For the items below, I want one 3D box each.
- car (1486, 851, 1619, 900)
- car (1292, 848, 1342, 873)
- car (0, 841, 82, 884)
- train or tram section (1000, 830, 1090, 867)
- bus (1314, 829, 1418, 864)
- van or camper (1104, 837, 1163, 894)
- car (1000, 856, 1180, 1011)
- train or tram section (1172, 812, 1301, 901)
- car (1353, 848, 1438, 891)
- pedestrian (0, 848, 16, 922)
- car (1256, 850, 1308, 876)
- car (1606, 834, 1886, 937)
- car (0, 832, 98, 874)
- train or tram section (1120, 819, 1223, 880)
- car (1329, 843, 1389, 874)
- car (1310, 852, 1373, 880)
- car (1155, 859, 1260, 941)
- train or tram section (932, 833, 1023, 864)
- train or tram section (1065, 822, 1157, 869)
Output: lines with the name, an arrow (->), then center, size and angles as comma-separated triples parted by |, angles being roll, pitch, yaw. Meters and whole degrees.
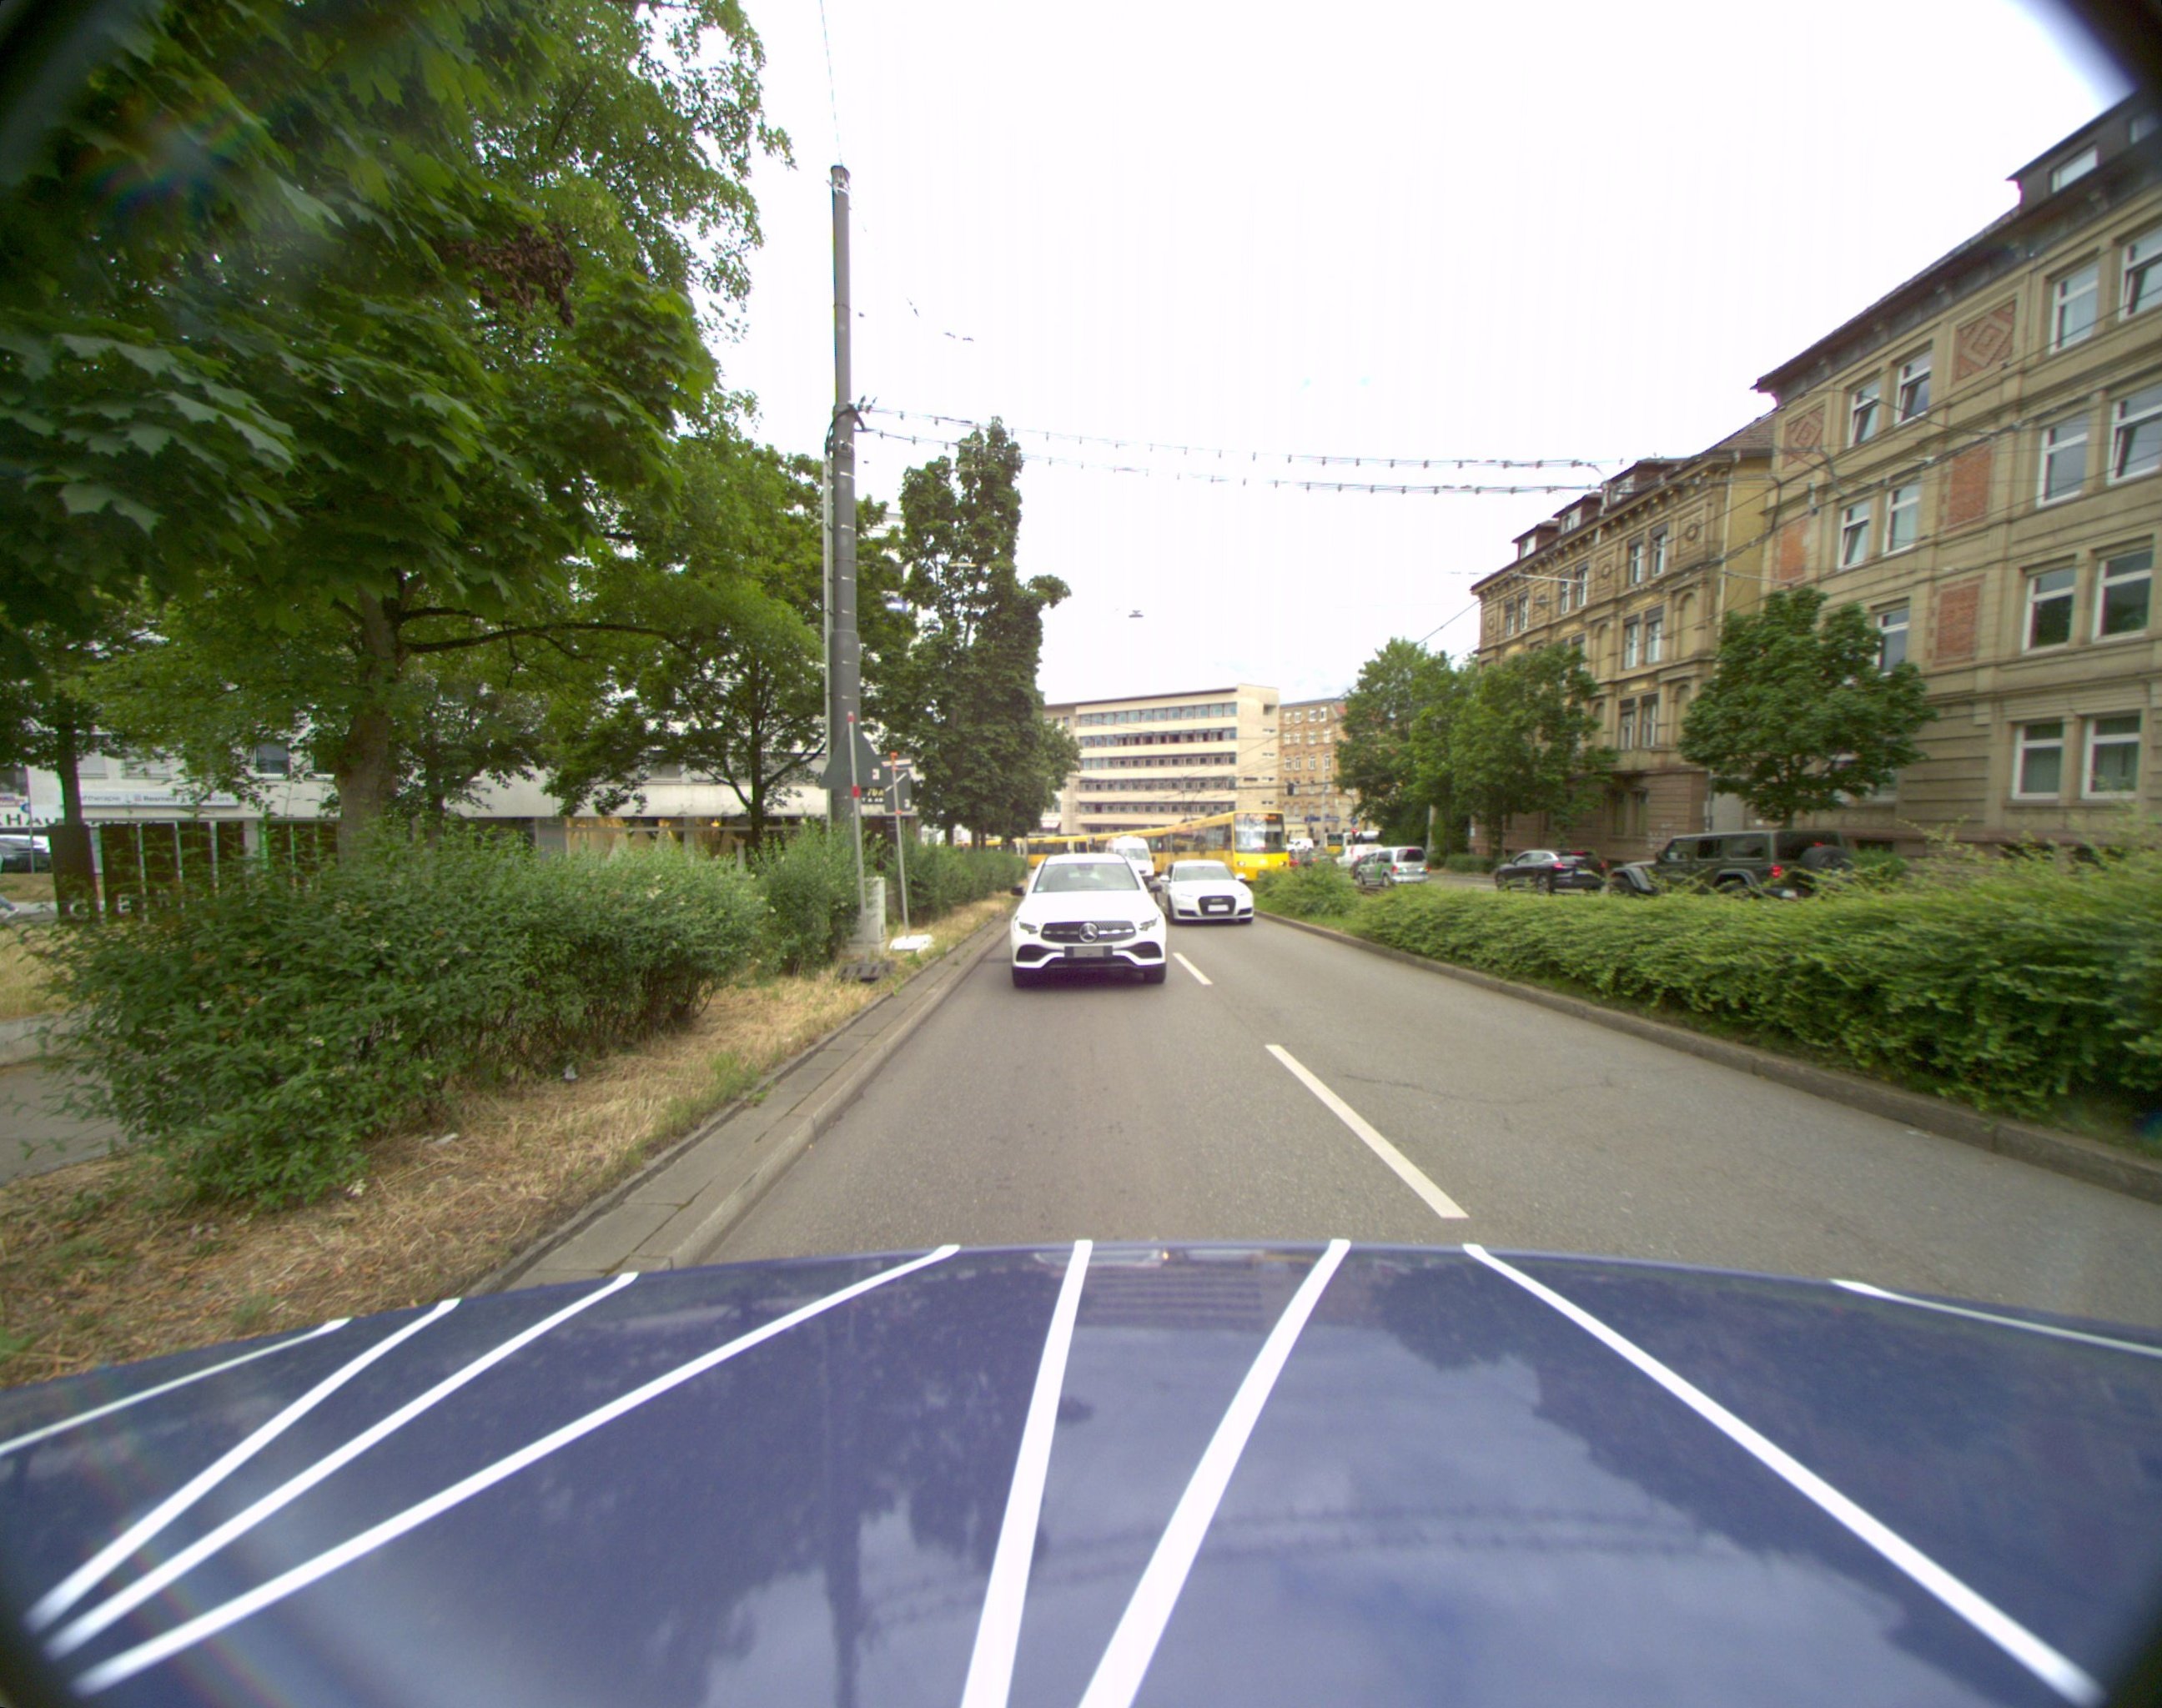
car -> 16.534, 0.699, 26.945 | 1.870, 1.545, 4.437 | -1, 0, -1
car -> 16.017, 0.417, 51.756 | 1.747, 1.419, 4.402 | -3, 2, -4
car -> -41.502, 0.309, 29.197 | 3.393, 1.639, 1.595 | 0, 0, -28
train or tram section -> -4.183, -0.686, 81.555 | 2.936, 3.540, 14.191 | -5, 4, -32
bus -> 28.579, -0.800, 75.867 | 11.566, 3.012, 3.381 | -2, 1, -32
van or camper -> 2.640, 0.491, 39.903 | 2.209, 2.544, 6.369 | -3, 3, -3
car -> 0.025, 0.884, 10.835 | 1.935, 1.622, 4.772 | -3, 0, -2
train or tram section -> 7.530, -0.080, 39.707 | 2.889, 3.643, 14.467 | -3, 2, -3
car -> 14.168, 0.638, 34.524 | 1.884, 1.777, 4.516 | -2, 0, -1
pedestrian -> -22.199, 0.630, 15.471 | 0.572, 1.513, 0.541 | 0, 1, 33
car -> 13.711, 0.598, 52.096 | 1.999, 1.510, 4.403 | -4, 2, -4
car -> 13.905, 0.580, 16.365 | 1.904, 1.865, 4.641 | -1, 0, -1
car -> -43.235, -0.056, 30.908 | 3.631, 1.664, 1.595 | 0, 0, -28
train or tram section -> 5.964, -0.401, 53.985 | 2.891, 3.643, 14.212 | -3, 2, -11
car -> 18.760, 0.266, 51.521 | 1.999, 1.839, 4.990 | -4, 1, -3
car -> 14.885, 0.712, 43.759 | 1.824, 1.441, 4.947 | -2, -1, -1
car -> 2.905, 0.984, 18.328 | 1.896, 1.467, 4.530 | -3, 2, 2
train or tram section -> -12.891, -0.579, 92.816 | 2.895, 3.423, 14.189 | -7, 4, -44
train or tram section -> 2.308, -0.812, 67.831 | 2.893, 3.643, 14.203 | -3, 2, -20
